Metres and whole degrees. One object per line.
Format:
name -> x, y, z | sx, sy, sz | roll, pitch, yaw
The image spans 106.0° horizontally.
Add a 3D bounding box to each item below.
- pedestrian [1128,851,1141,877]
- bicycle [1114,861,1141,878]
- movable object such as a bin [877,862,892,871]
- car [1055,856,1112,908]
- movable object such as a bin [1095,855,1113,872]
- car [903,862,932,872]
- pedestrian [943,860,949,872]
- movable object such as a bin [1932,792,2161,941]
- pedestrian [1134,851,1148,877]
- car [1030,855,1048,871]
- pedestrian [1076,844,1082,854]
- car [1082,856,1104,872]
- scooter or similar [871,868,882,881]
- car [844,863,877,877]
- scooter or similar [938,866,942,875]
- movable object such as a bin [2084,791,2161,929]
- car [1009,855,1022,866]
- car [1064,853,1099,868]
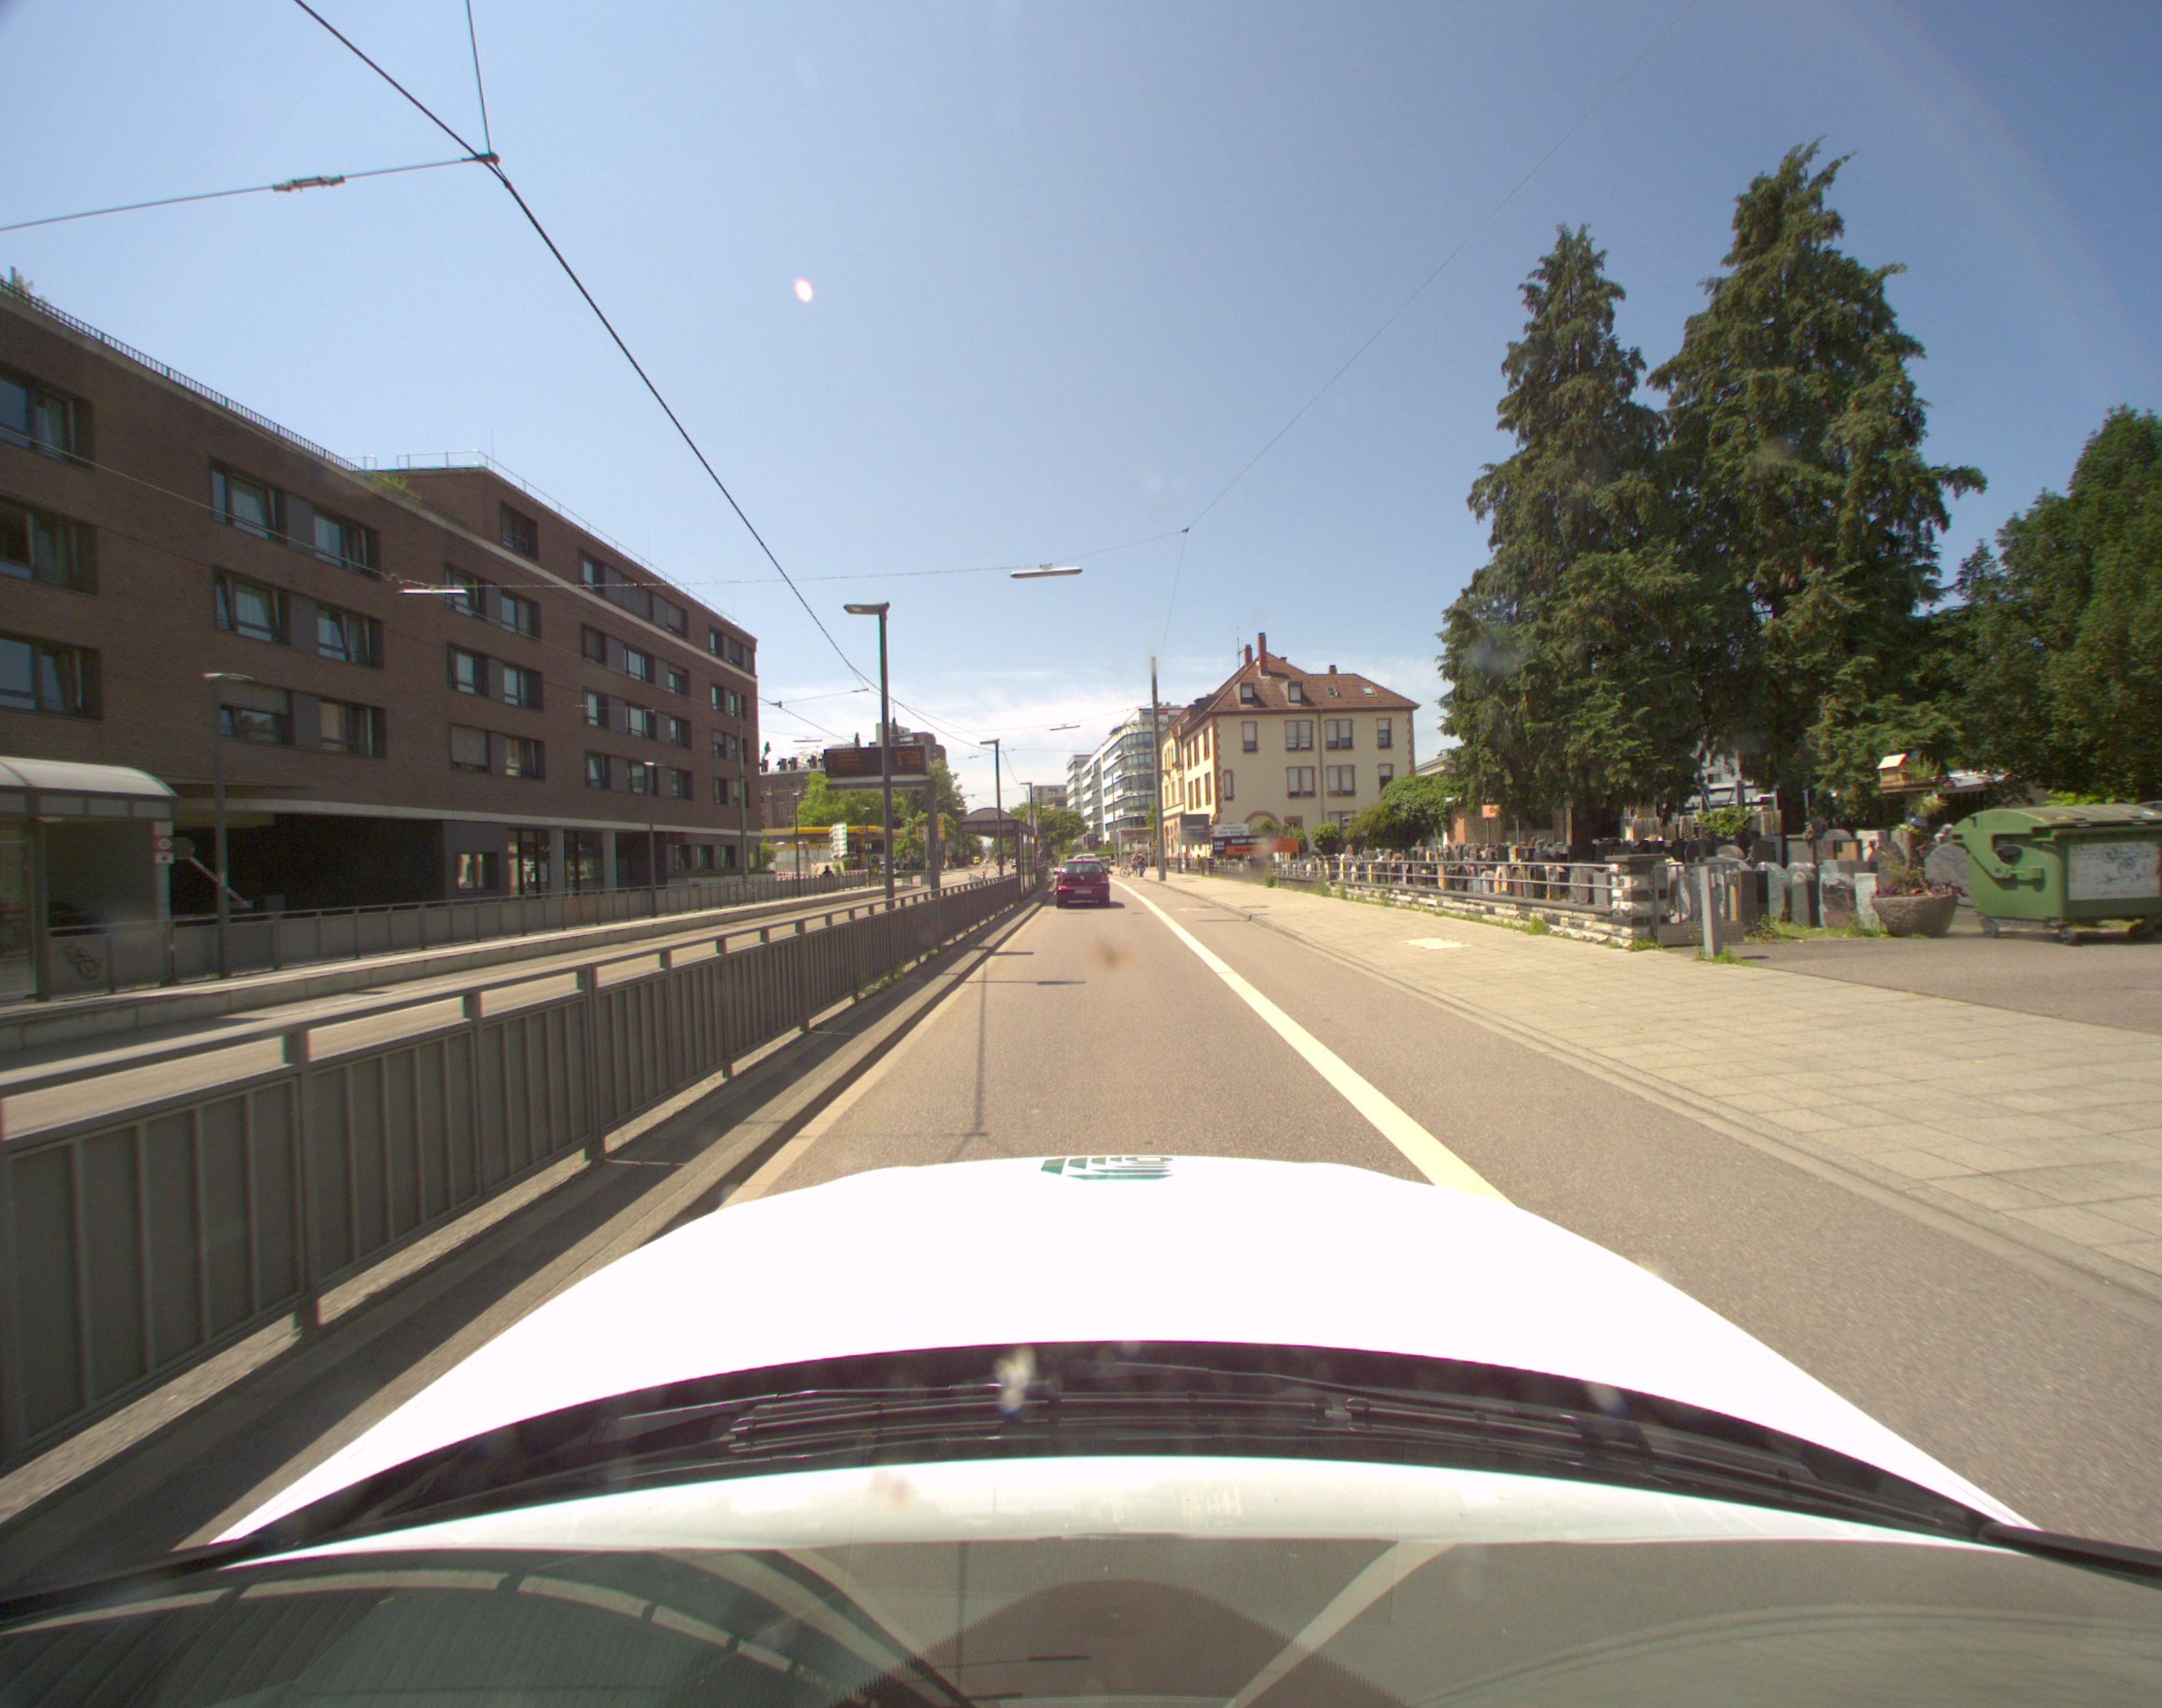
pedestrian -> 3.806, 0.700, 57.676 | 0.681, 1.772, 0.506 | -2, 0, 29
bicycle -> 3.257, 1.081, 57.485 | 1.785, 1.127, 0.593 | -2, 0, 26
movable object such as a bin -> -31.206, 1.986, 129.273 | 1.509, 1.509, 2.109 | -1, 0, 18
car -> 0.119, 0.818, 25.567 | 1.613, 1.486, 4.001 | -1, 0, 1
movable object such as a bin -> 2.219, 0.898, 77.594 | 1.392, 1.455, 1.135 | -5, 0, -10
car -> -26.079, 2.099, 129.729 | 1.910, 1.488, 4.479 | -1, 0, 33
pedestrian -> -19.490, 1.707, 117.604 | 0.628, 1.691, 0.715 | -2, 0, -28
movable object such as a bin -> 10.677, 0.125, 8.954 | 1.382, 1.481, 1.152 | -2, 0, 1
pedestrian -> 4.144, 0.684, 56.174 | 0.819, 1.691, 0.590 | -2, 0, 8
car -> -5.408, 1.110, 103.562 | 1.992, 2.013, 3.990 | -1, 0, -7
pedestrian -> -0.396, -0.949, 151.968 | 0.870, 1.715, 1.090 | -4, -1, 3
car -> 1.283, 1.110, 89.192 | 1.770, 1.548, 4.457 | -4, -1, -6
scooter or similar -> -19.935, 1.981, 79.405 | 0.342, 1.264, 1.248 | -1, 0, 18
car -> -26.329, 1.936, 97.481 | 1.811, 1.504, 4.218 | 0, 1, 16
scooter or similar -> -17.982, 2.083, 103.896 | 0.518, 1.200, 1.372 | -1, 0, -9
movable object such as a bin -> 12.298, 0.040, 8.814 | 1.380, 1.481, 1.153 | -2, 0, 4
car -> -10.773, 1.108, 133.557 | 1.991, 1.739, 3.991 | -3, 0, -6
car -> -0.012, 0.890, 110.859 | 4.533, 1.799, 1.996 | -2, 0, -7
